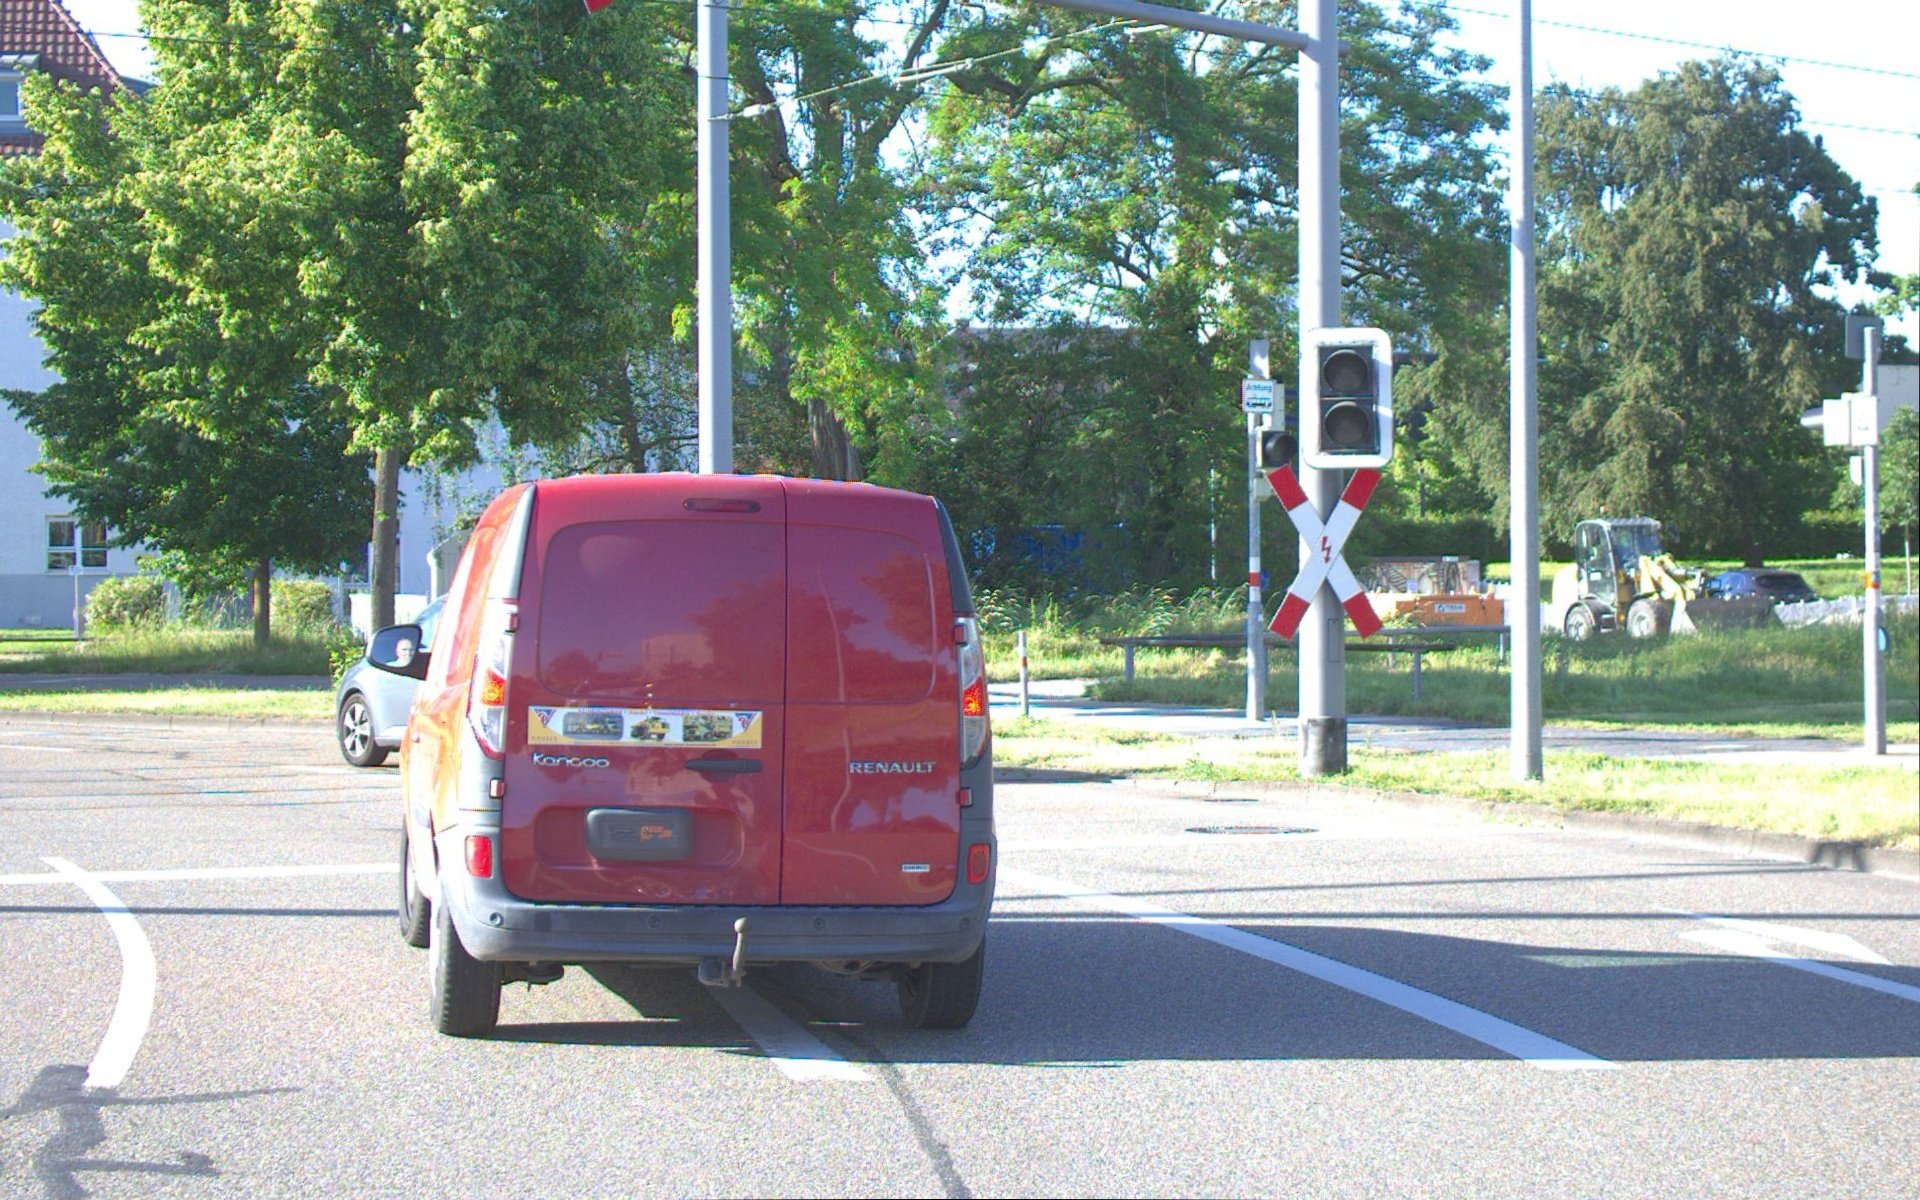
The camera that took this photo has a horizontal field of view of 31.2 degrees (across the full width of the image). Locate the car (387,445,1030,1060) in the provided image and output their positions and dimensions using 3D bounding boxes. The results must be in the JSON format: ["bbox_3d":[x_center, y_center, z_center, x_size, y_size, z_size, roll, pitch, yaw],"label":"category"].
[{"bbox_3d":[-1.046,0.437,12.118,1.802,1.807,3.811,1,1,-11],"label":"car"}]

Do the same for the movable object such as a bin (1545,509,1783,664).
[{"bbox_3d":[13.240,-0.189,64.959,1.993,2.779,5.049,1,-2,-21],"label":"movable object such as a bin"}]

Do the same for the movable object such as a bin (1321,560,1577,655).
[{"bbox_3d":[10.585,0.183,74.445,5.004,1.942,2.240,1,-2,-18],"label":"movable object such as a bin"}]

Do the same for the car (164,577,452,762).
[{"bbox_3d":[-5.527,0.543,28.782,1.713,1.431,4.153,1,0,-20],"label":"car"}]

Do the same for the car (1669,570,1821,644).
[{"bbox_3d":[17.608,0.186,77.310,1.919,1.552,3.951,1,-1,-10],"label":"car"}]
